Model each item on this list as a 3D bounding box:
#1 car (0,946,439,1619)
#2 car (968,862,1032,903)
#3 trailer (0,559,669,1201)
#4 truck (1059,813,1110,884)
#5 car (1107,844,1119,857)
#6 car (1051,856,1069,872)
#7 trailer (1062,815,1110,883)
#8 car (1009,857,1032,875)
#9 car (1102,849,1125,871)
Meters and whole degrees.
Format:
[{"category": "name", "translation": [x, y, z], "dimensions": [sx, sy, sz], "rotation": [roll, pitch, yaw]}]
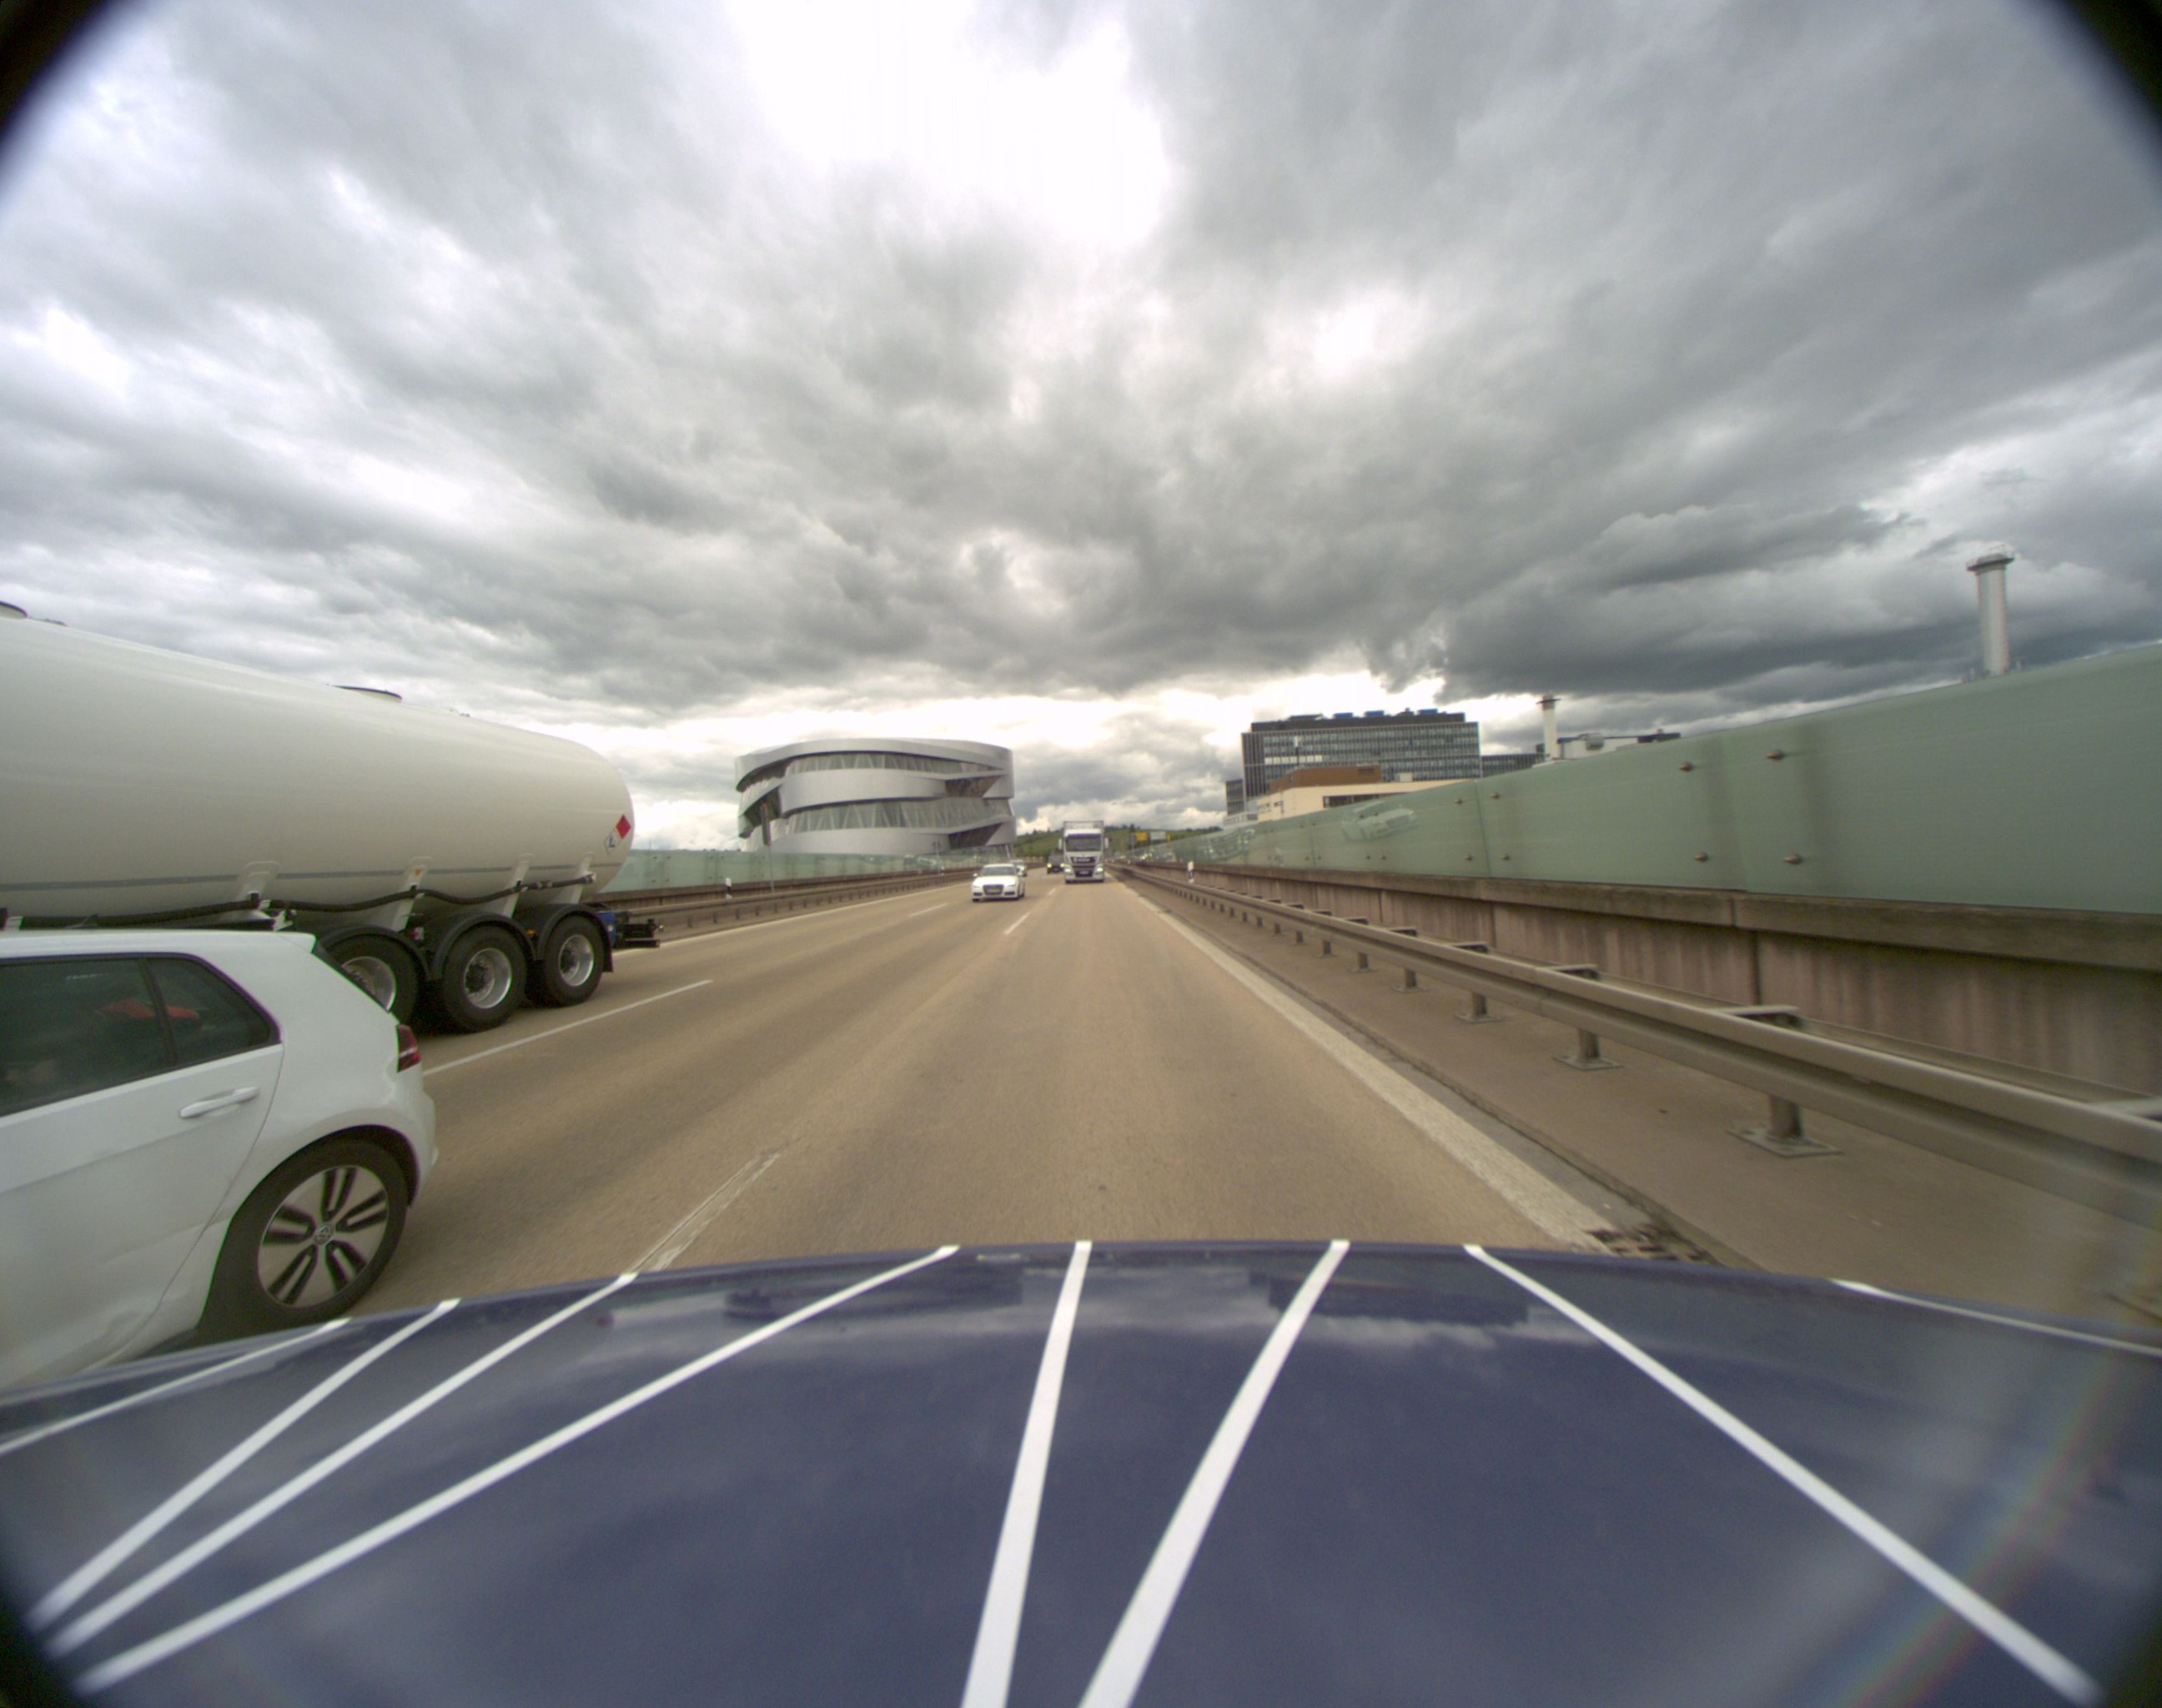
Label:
[{"category": "car", "translation": [-3.440, 1.095, 0.965], "dimensions": [1.759, 1.443, 4.072], "rotation": [-1, 0, 0]}, {"category": "car", "translation": [-3.139, 1.073, 30.070], "dimensions": [1.848, 1.443, 3.933], "rotation": [-2, 0, 3]}, {"category": "trailer", "translation": [-7.251, 0.163, 5.031], "dimensions": [2.657, 3.523, 11.220], "rotation": [-2, 0, 1]}, {"category": "truck", "translation": [0.292, -0.323, 48.420], "dimensions": [2.946, 4.136, 6.291], "rotation": [-2, 0, 1]}, {"category": "car", "translation": [6.097, -0.705, 146.621], "dimensions": [2.144, 2.494, 4.524], "rotation": [-2, 0, 1]}, {"category": "car", "translation": [-2.368, 1.130, 84.582], "dimensions": [1.765, 1.624, 3.628], "rotation": [-2, 0, 1]}, {"category": "trailer", "translation": [0.395, -0.316, 52.804], "dimensions": [2.880, 4.104, 11.220], "rotation": [-2, 0, 1]}, {"category": "car", "translation": [-5.831, 1.110, 73.802], "dimensions": [1.785, 1.624, 3.628], "rotation": [-2, 0, 1]}, {"category": "car", "translation": [3.131, 0.541, 74.370], "dimensions": [1.998, 2.002, 4.000], "rotation": [-2, 0, 0]}]
